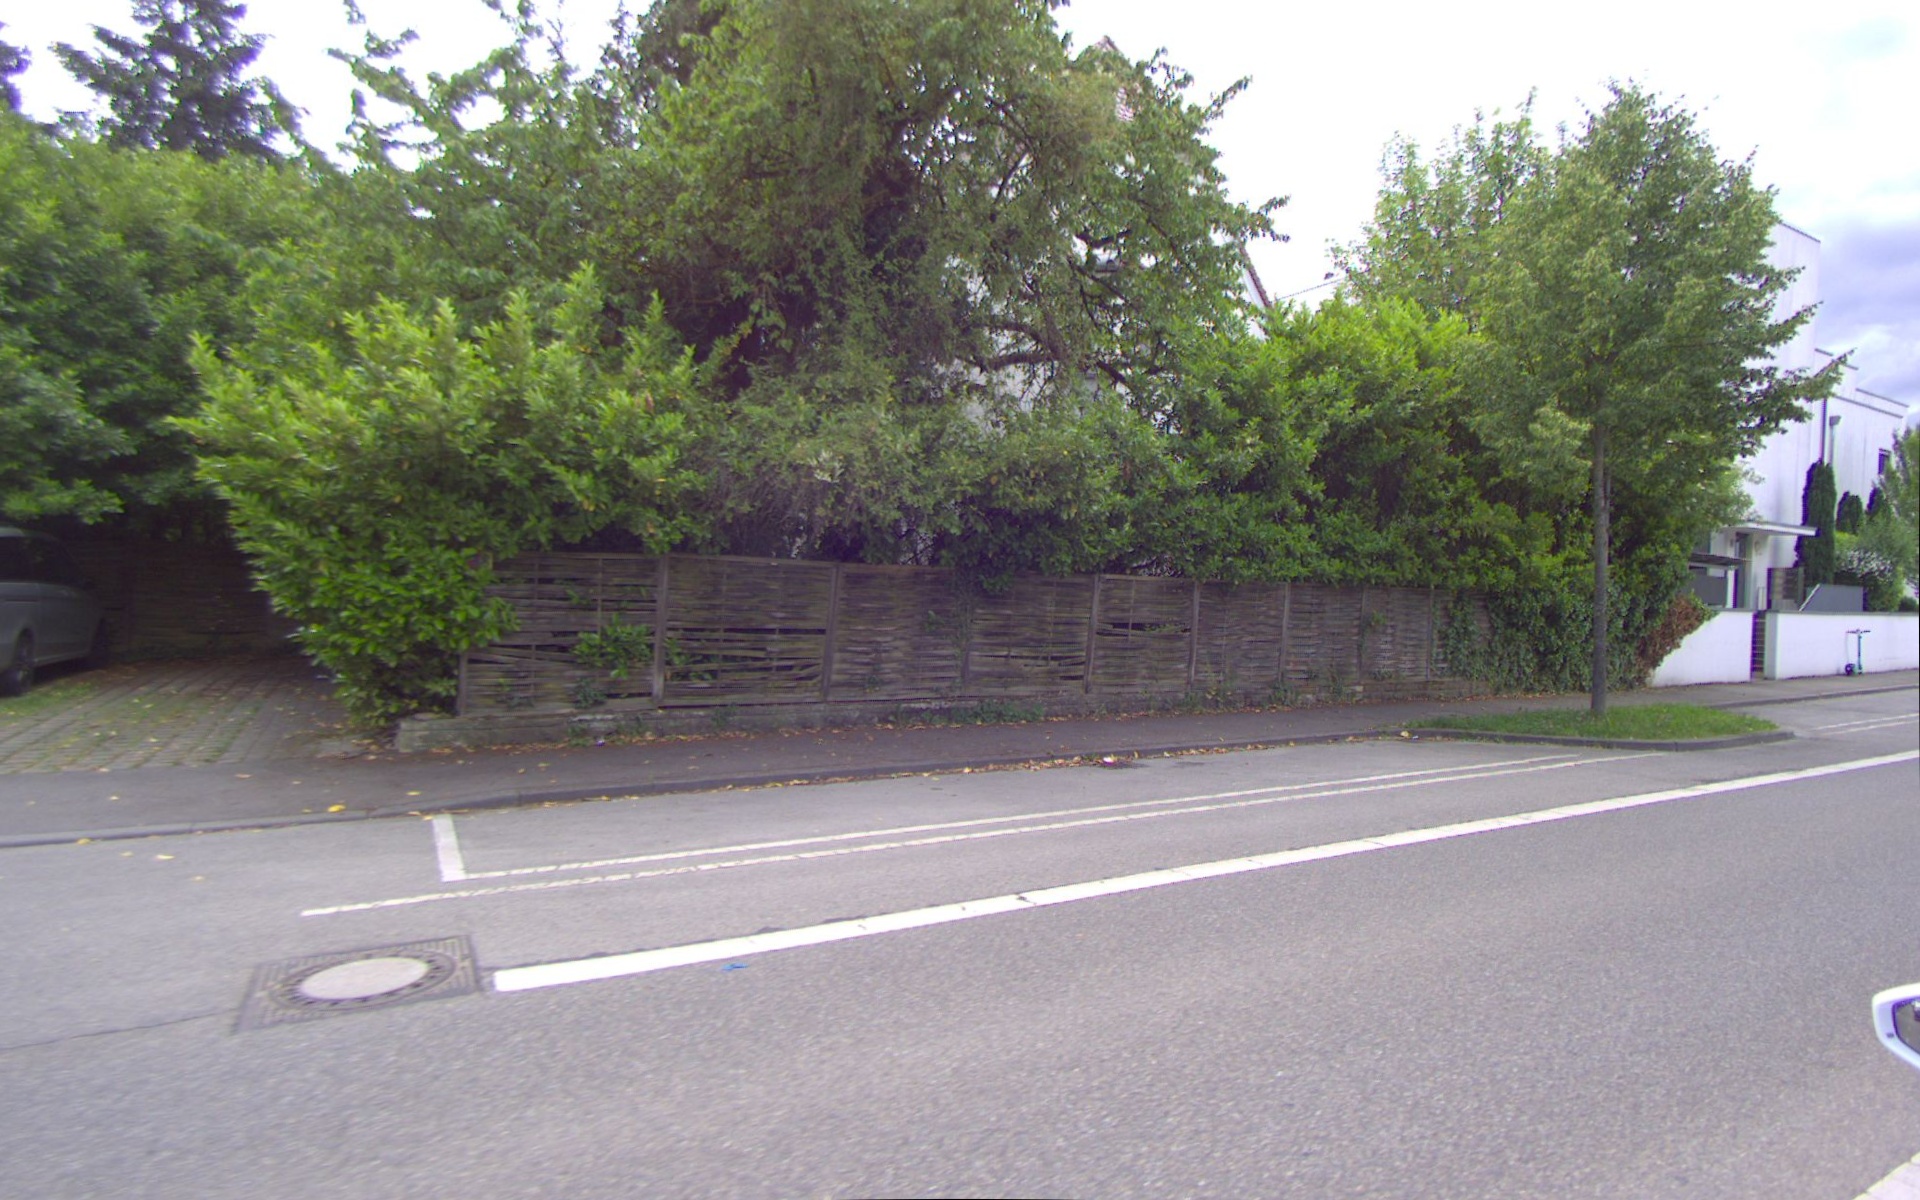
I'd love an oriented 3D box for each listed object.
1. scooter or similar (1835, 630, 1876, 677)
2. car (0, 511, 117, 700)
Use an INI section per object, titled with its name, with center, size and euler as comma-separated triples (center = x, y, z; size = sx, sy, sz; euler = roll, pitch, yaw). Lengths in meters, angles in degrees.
[scooter or similar]
center = 23.322, 1.383, 26.160
size = 1.288, 1.170, 0.498
euler = 1, 0, -34
[car]
center = -11.804, 0.046, 11.888
size = 1.876, 1.962, 4.439
euler = 1, -1, -28
